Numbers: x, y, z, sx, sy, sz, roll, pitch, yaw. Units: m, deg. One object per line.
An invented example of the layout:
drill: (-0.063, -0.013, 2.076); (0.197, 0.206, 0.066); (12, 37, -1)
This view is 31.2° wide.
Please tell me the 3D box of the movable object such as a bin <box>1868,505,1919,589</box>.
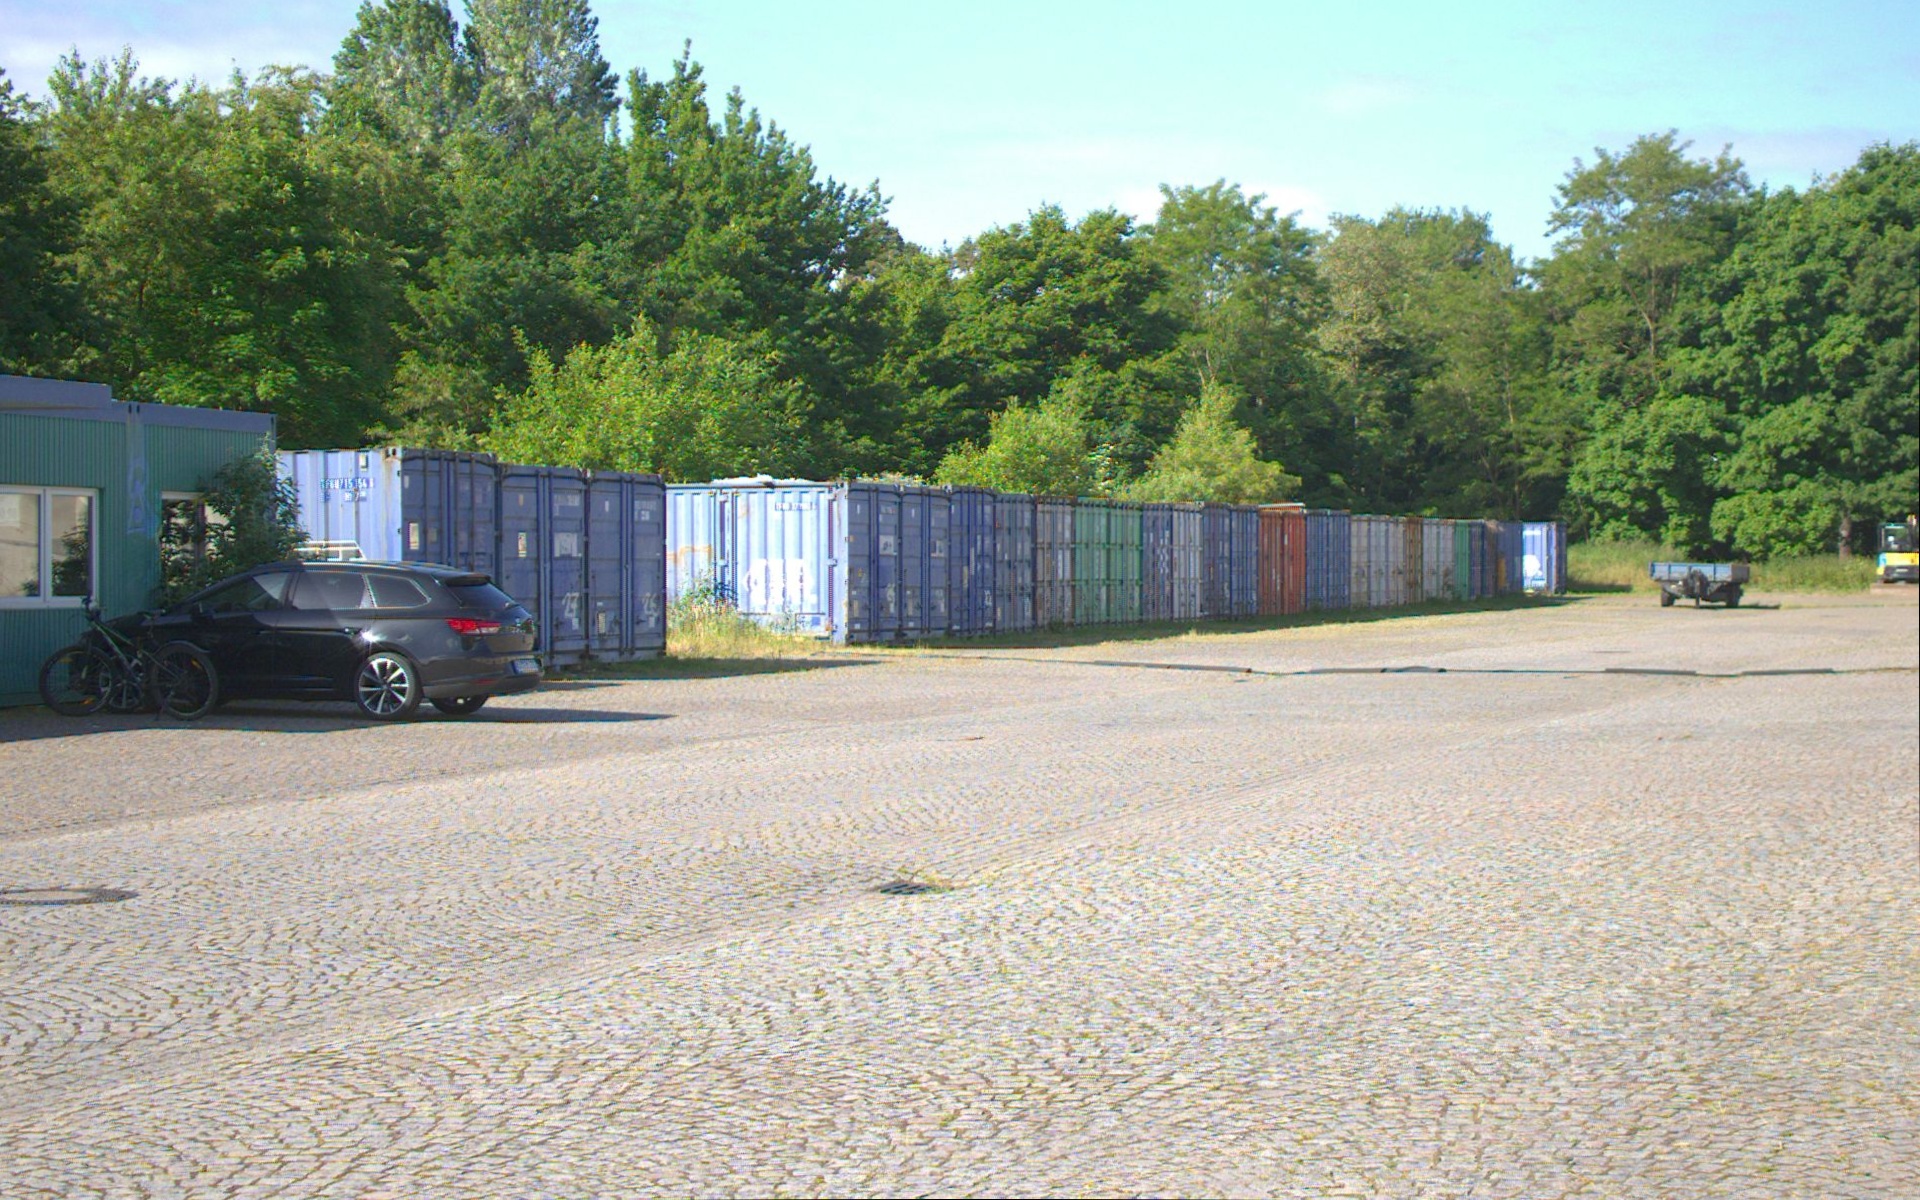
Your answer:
movable object such as a bin: (34.372, -1.967, 124.474); (2.309, 2.886, 5.745); (2, 3, 20)

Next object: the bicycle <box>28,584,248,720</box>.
bicycle: (-7.351, 0.452, 30.754); (1.805, 1.166, 0.668); (1, 0, 17)

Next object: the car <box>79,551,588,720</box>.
car: (-5.840, 0.303, 32.147); (4.255, 1.444, 1.930); (1, 0, 18)

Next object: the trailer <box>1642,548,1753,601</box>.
trailer: (22.916, -0.825, 106.673); (2.708, 1.460, 6.242); (2, 2, 18)
